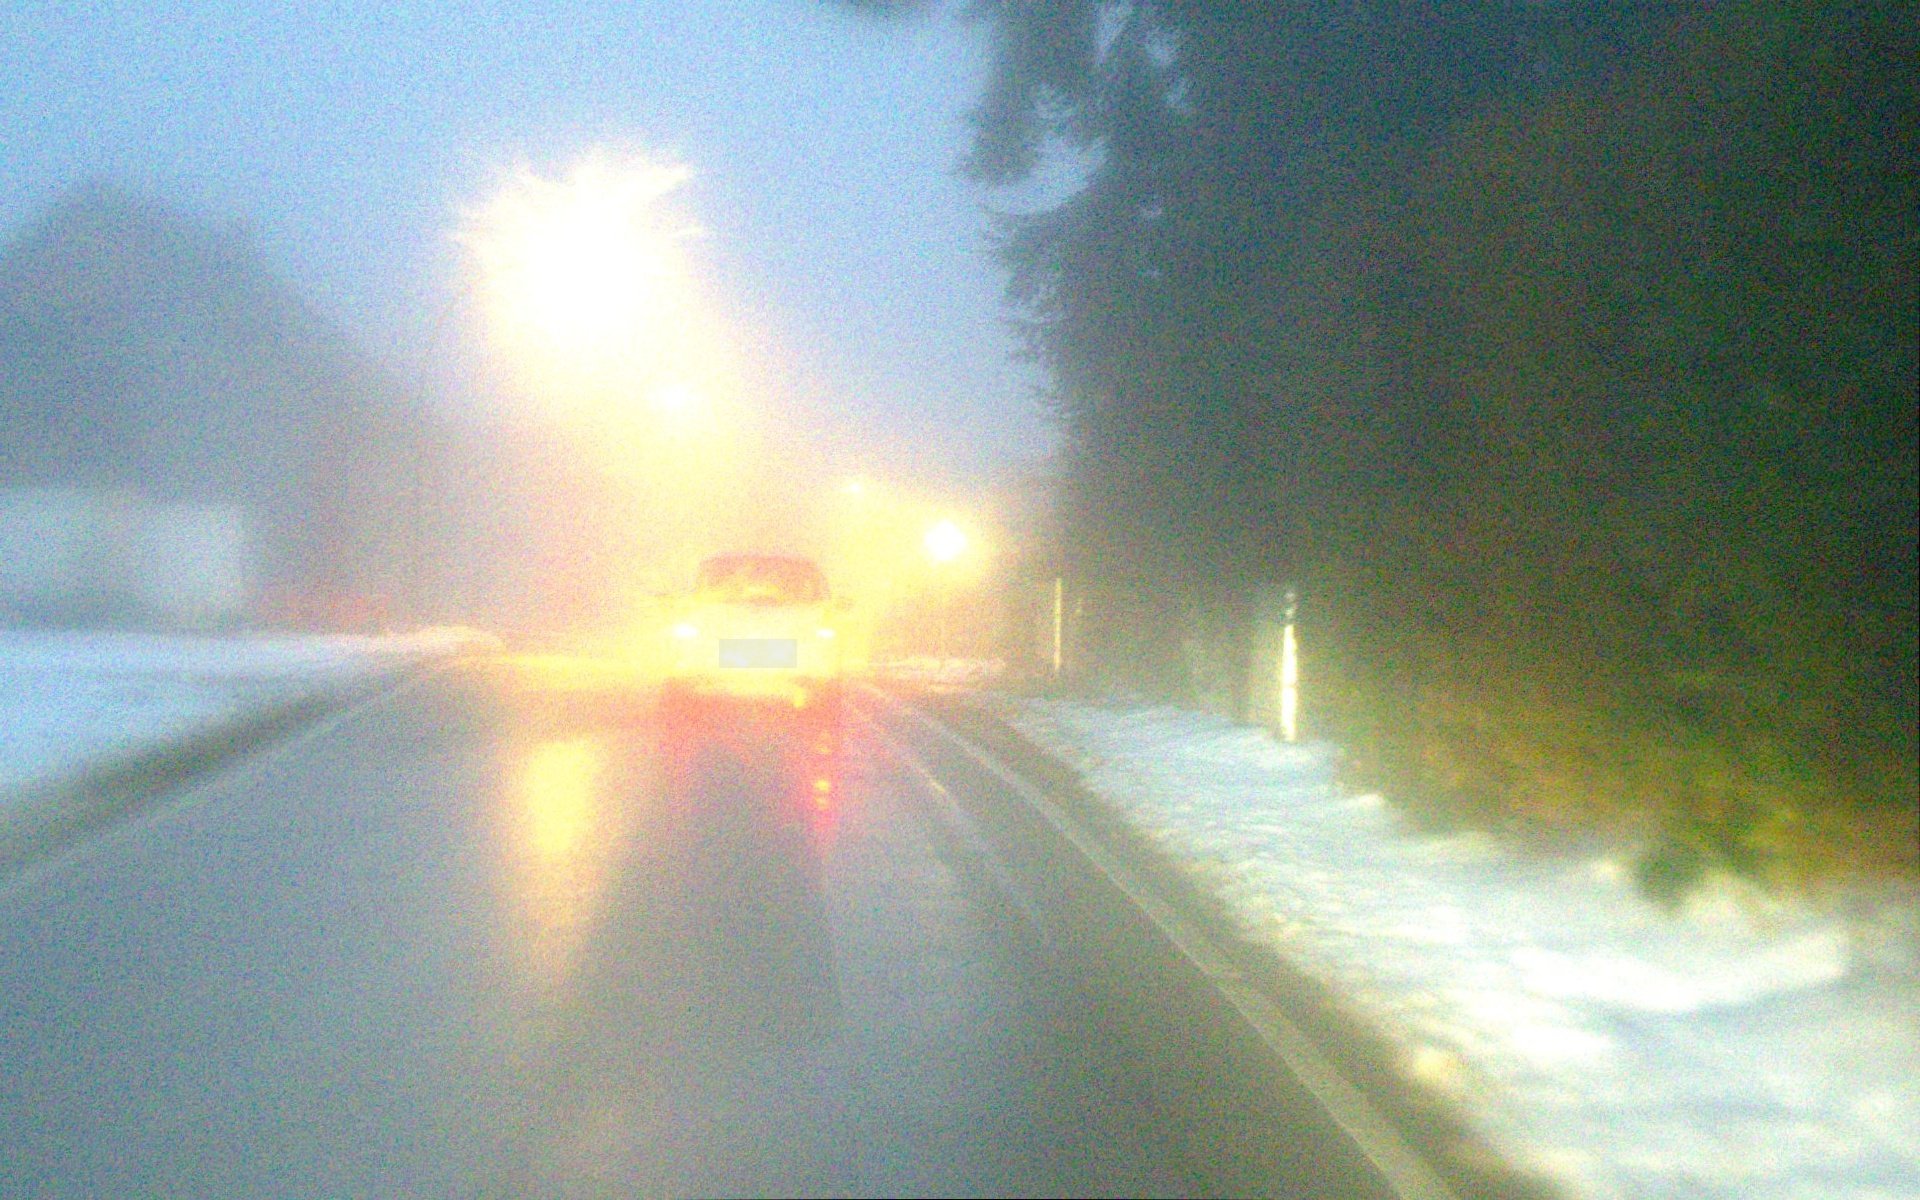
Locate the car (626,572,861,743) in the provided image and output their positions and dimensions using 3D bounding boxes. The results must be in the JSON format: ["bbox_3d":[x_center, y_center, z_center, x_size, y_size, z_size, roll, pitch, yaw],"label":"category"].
[{"bbox_3d":[-1.974,0.493,32.455,1.993,1.503,4.000,0,1,0],"label":"car"}]

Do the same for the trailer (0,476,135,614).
[{"bbox_3d":[-16.996,-1.008,64.153,1.994,2.481,4.010,0,0,4],"label":"trailer"}]

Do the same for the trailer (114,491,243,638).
[{"bbox_3d":[-14.301,-0.647,62.808,1.689,2.596,3.446,0,1,-24],"label":"trailer"}]
